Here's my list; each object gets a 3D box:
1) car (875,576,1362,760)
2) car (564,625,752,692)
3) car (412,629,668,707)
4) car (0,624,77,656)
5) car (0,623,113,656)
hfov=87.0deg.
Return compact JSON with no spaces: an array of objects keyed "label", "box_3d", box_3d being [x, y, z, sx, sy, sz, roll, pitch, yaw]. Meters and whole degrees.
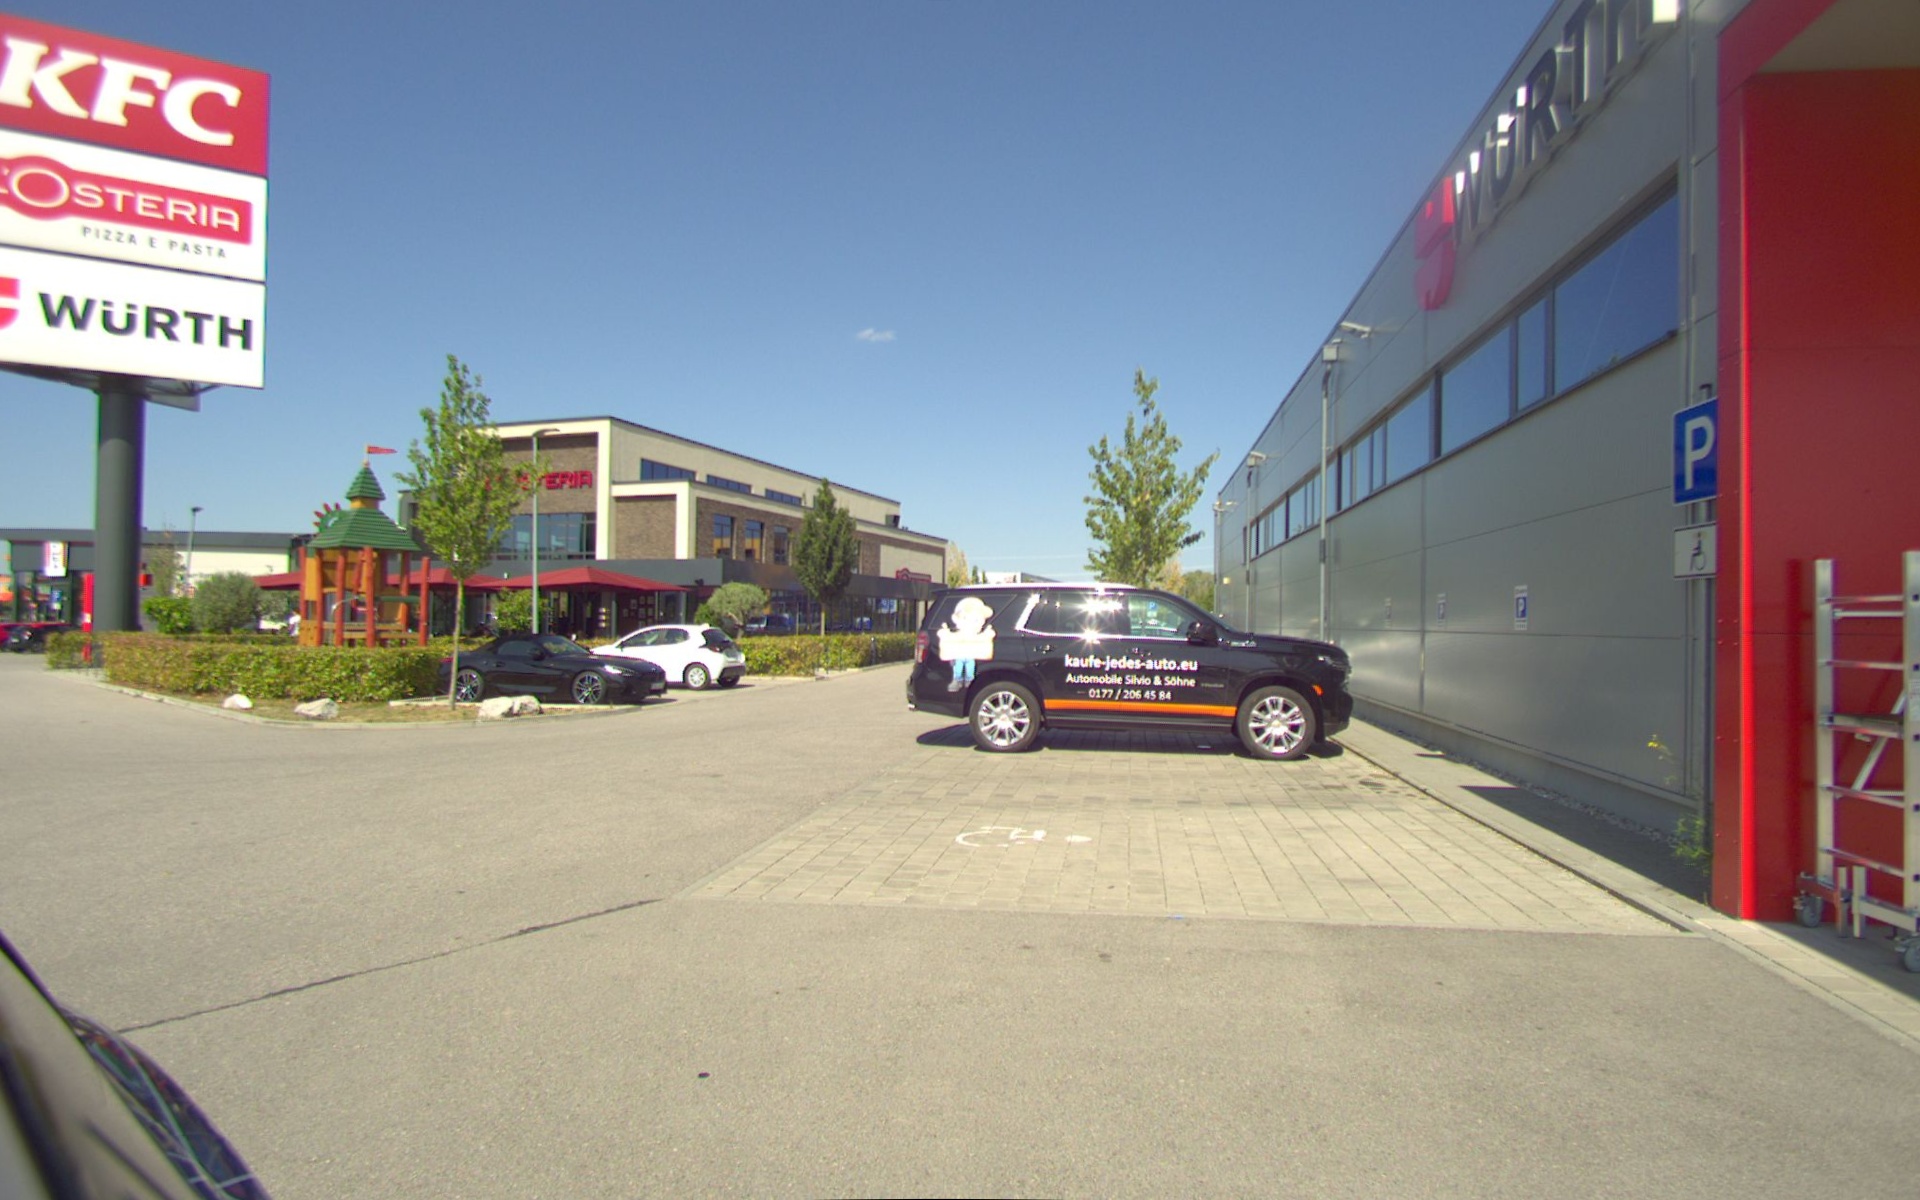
[{"label":"car","box_3d":[1.803,0.753,12.210,5.321,1.953,2.025,0,-2,10]},{"label":"car","box_3d":[-7.065,1.331,23.820,3.876,1.486,1.795,0,-2,14]},{"label":"car","box_3d":[-7.829,1.234,19.033,4.107,1.348,1.826,0,-2,9]},{"label":"car","box_3d":[-47.194,1.981,50.670,1.865,1.577,4.068,0,-2,20]},{"label":"car","box_3d":[-44.617,1.922,49.837,1.865,1.577,4.068,0,-2,20]}]
